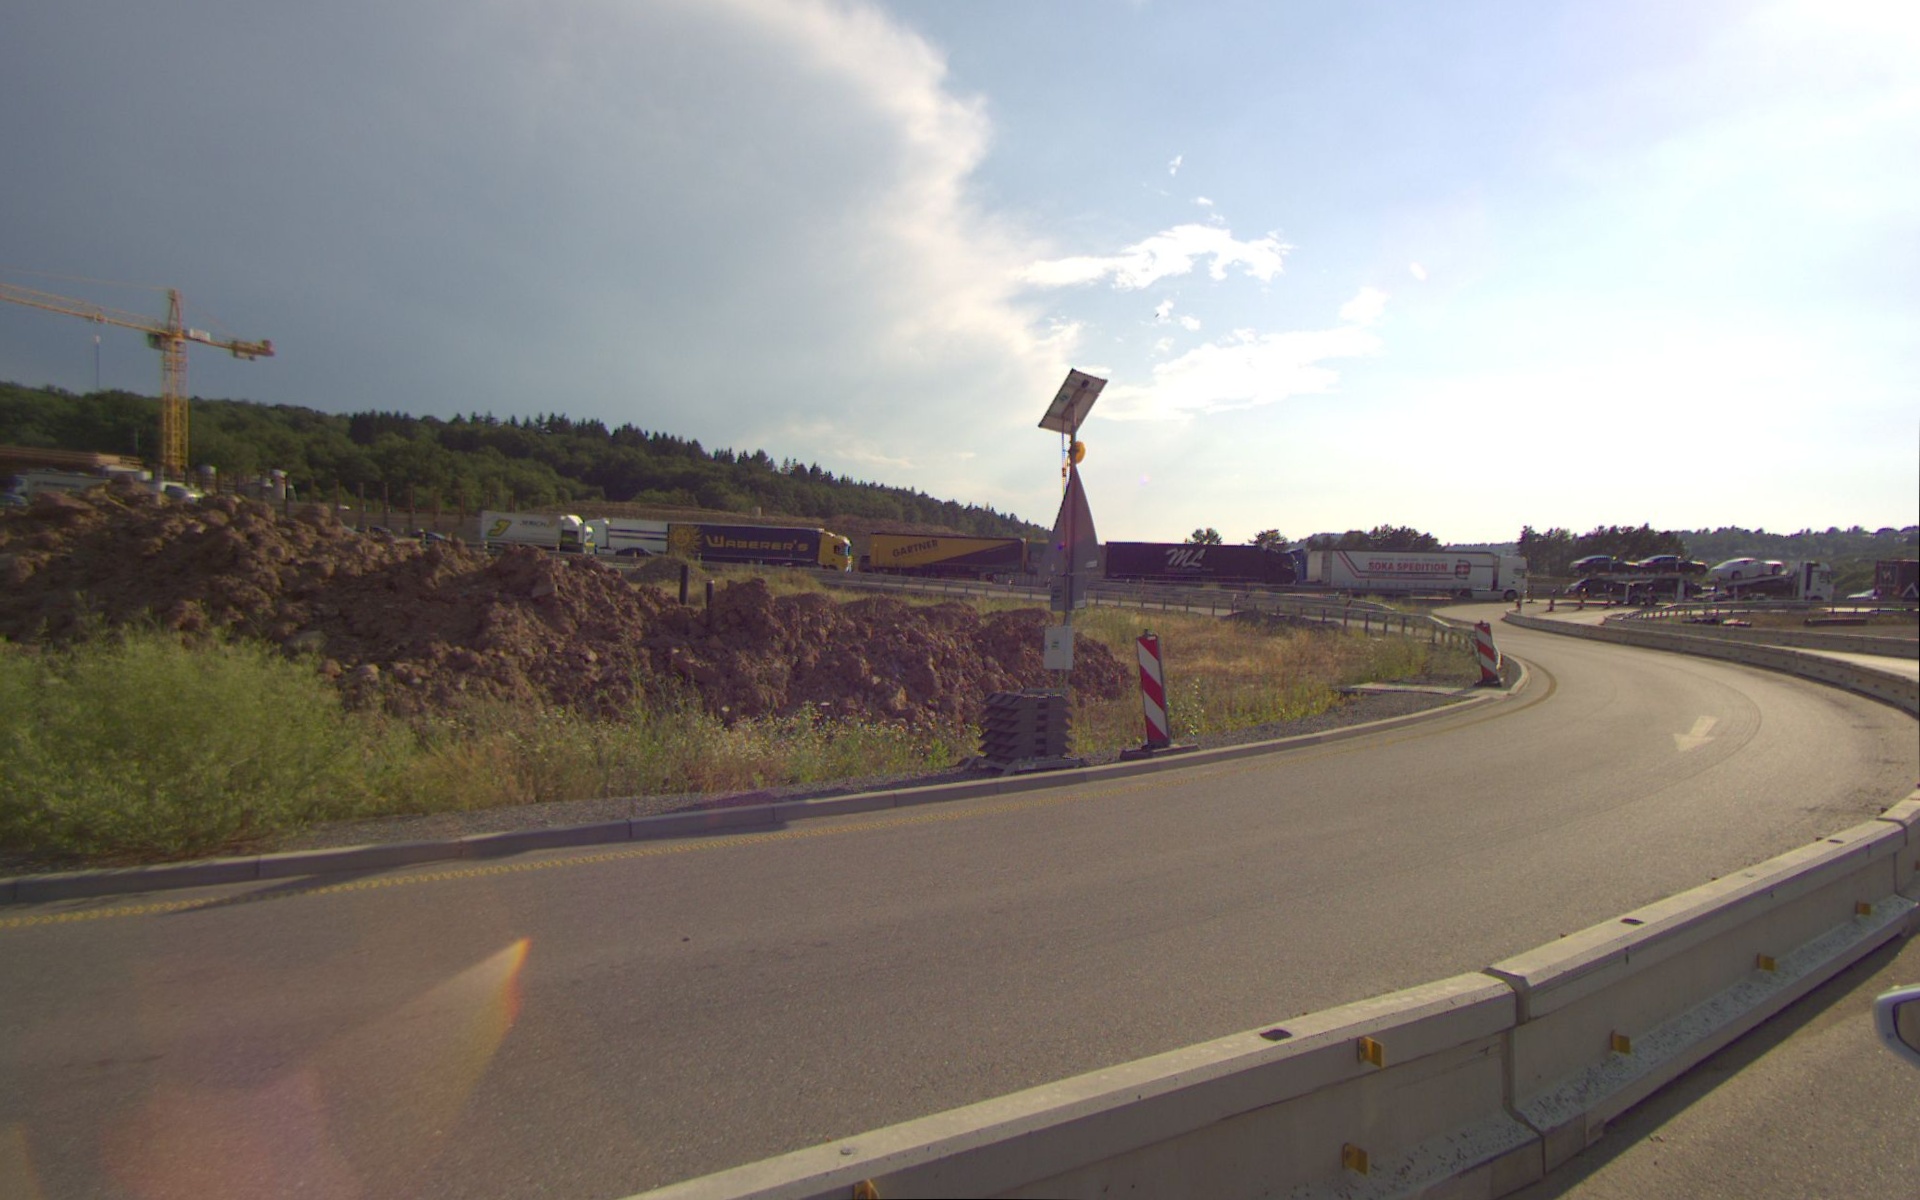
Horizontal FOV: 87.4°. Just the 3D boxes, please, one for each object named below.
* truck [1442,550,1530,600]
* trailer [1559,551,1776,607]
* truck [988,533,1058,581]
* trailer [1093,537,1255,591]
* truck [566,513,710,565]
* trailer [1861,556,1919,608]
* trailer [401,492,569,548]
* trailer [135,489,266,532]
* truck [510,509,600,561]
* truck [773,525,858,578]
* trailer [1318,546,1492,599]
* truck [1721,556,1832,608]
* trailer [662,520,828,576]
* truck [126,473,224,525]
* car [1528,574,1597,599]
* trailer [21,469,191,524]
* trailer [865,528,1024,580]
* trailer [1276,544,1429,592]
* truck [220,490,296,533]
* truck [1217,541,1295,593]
[{"bbox_3d":[44.510,-2.121,85.128,5.891,3.931,2.489,2,3,3],"label":"truck"},{"bbox_3d":[59.059,-1.821,84.181,15.430,4.050,2.867,2,2,4],"label":"trailer"},{"bbox_3d":[5.496,-3.756,87.765,5.890,3.954,2.489,2,3,4],"label":"truck"},{"bbox_3d":[18.283,-3.144,86.645,13.355,4.117,2.489,2,3,6],"label":"trailer"},{"bbox_3d":[-31.429,-5.918,98.221,12.909,4.471,3.574,2,1,5],"label":"truck"},{"bbox_3d":[81.143,-1.352,82.678,10.575,4.147,2.969,2,2,5],"label":"trailer"},{"bbox_3d":[-43.058,-7.249,91.221,13.965,4.372,3.115,2,1,5],"label":"trailer"},{"bbox_3d":[-86.998,-10.252,115.109,13.962,4.372,3.115,2,1,9],"label":"trailer"},{"bbox_3d":[-36.513,-5.835,90.754,6.757,4.372,3.115,2,1,5],"label":"truck"},{"bbox_3d":[-12.764,-4.300,89.094,6.757,4.372,3.115,2,1,5],"label":"truck"},{"bbox_3d":[37.794,-2.381,85.566,13.357,3.931,2.489,2,3,3],"label":"trailer"},{"bbox_3d":[67.835,-1.509,83.548,6.491,4.050,2.858,2,2,4],"label":"truck"},{"bbox_3d":[-19.104,-4.588,89.618,13.965,4.372,3.115,2,1,5],"label":"trailer"},{"bbox_3d":[-72.803,-9.369,93.216,6.757,4.372,3.115,2,1,5],"label":"truck"},{"bbox_3d":[54.198,-1.214,90.440,4.879,2.008,2.035,2,4,5],"label":"car"},{"bbox_3d":[-79.621,-9.646,93.757,13.965,4.372,3.115,2,1,5],"label":"trailer"},{"bbox_3d":[-1.322,-4.018,88.309,13.695,4.012,2.489,2,3,4],"label":"trailer"},{"bbox_3d":[37.330,-3.085,95.859,13.205,4.050,2.867,2,2,4],"label":"trailer"},{"bbox_3d":[-79.628,-10.022,113.980,6.756,4.372,3.115,2,1,8],"label":"truck"},{"bbox_3d":[25.258,-2.828,85.942,5.890,4.115,2.489,2,3,6],"label":"truck"}]
